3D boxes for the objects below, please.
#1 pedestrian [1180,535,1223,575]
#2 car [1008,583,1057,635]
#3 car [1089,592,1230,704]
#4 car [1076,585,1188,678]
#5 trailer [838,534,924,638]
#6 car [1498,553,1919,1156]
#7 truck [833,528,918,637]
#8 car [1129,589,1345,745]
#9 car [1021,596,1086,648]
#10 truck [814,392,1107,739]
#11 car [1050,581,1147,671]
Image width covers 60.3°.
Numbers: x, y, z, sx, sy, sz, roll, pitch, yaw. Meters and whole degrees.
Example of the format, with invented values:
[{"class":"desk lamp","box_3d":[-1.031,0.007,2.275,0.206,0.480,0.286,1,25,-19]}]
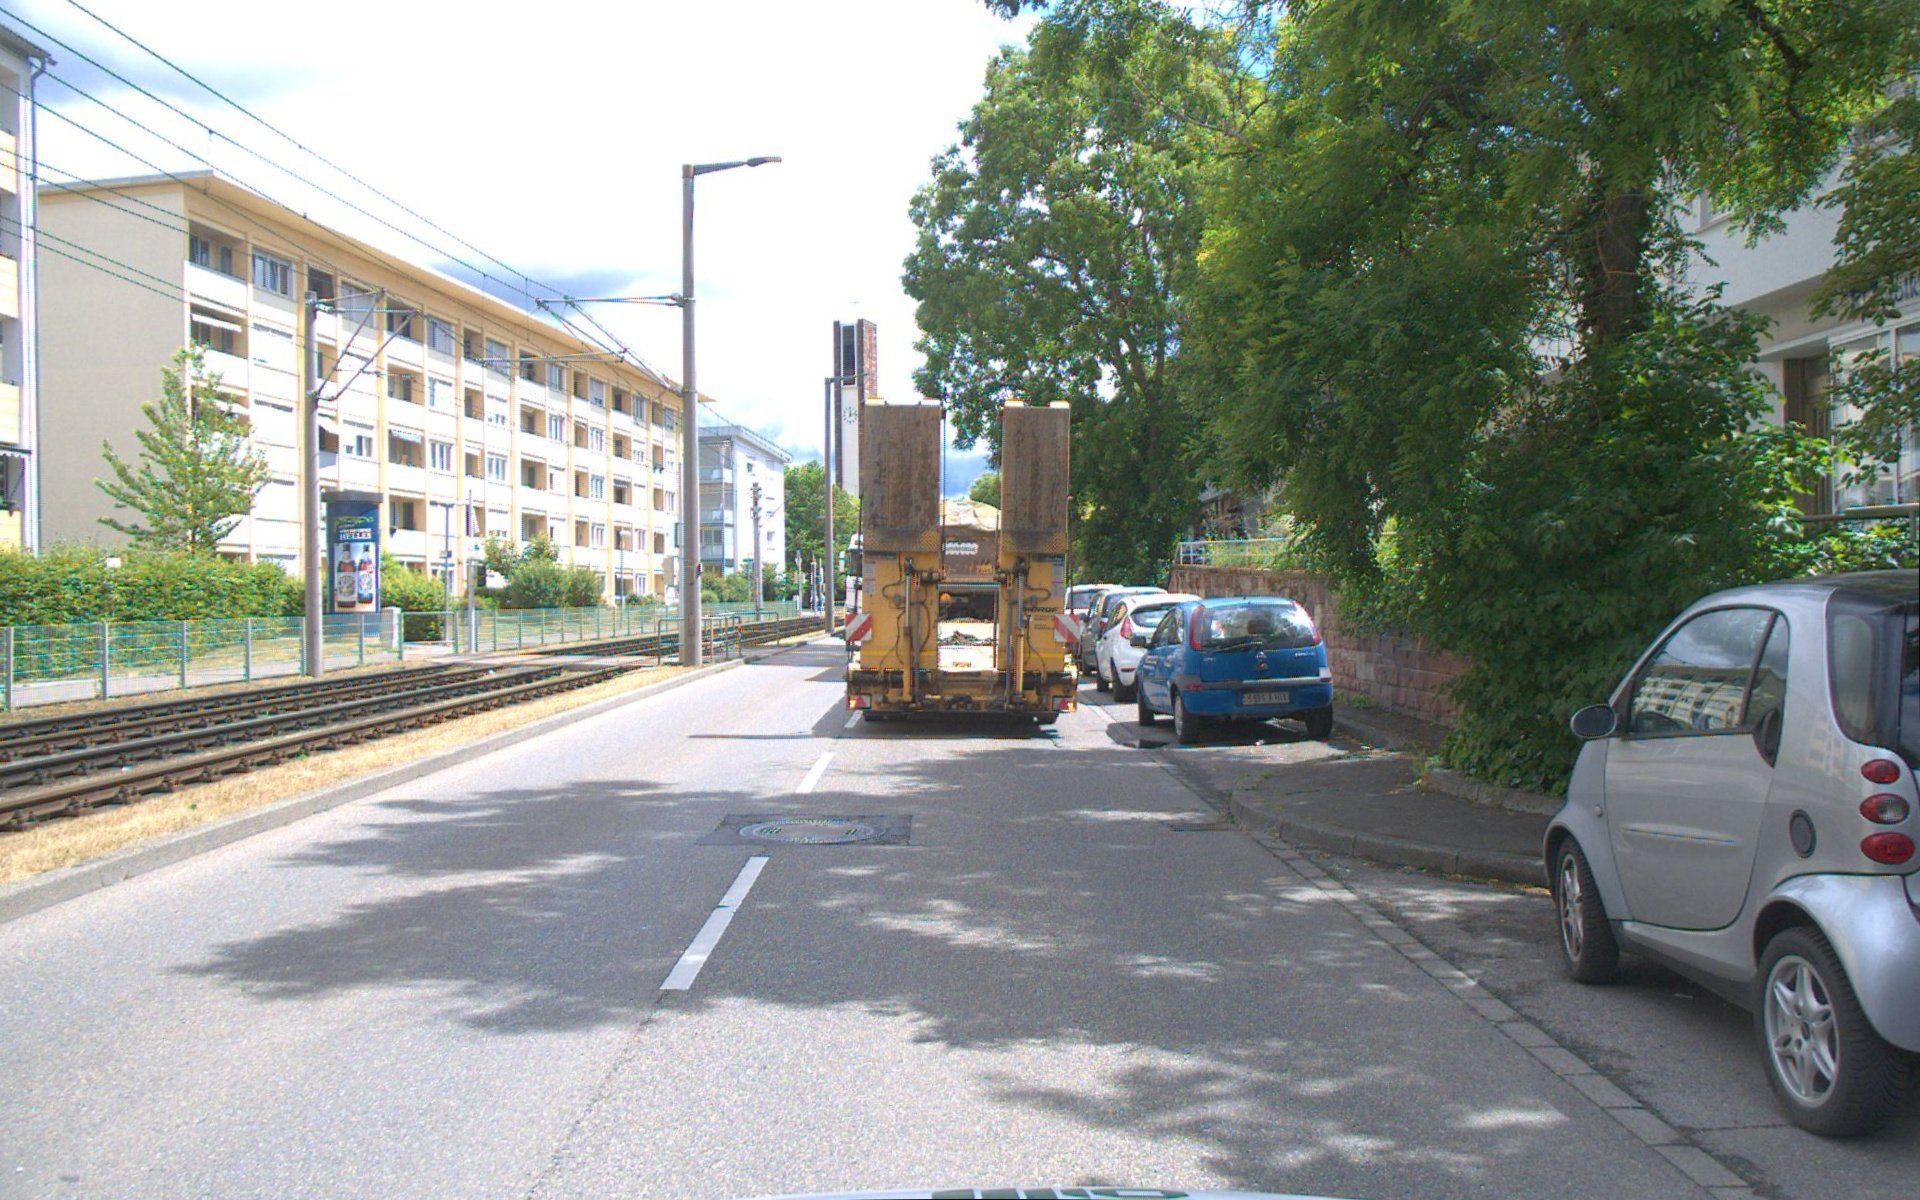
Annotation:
[{"class":"pedestrian","box_3d":[5.040,-0.937,34.600,0.779,0.804,0.705,0,0,-1]},{"class":"car","box_3d":[2.929,0.345,67.719,1.762,2.003,4.590,-1,0,0]},{"class":"car","box_3d":[2.896,0.649,24.684,1.611,1.516,3.822,0,0,0]},{"class":"car","box_3d":[3.042,0.518,29.820,1.549,1.579,3.474,0,0,-2]},{"class":"trailer","box_3d":[-2.940,-0.566,65.489,2.643,3.643,13.675,1,0,0]},{"class":"car","box_3d":[3.119,0.627,5.737,1.482,1.560,2.846,-2,0,-1]},{"class":"truck","box_3d":[-2.944,-0.618,59.166,2.643,3.643,6.145,1,0,0]},{"class":"car","box_3d":[2.921,0.649,18.156,1.576,1.482,3.674,-2,0,-2]},{"class":"car","box_3d":[2.771,0.624,49.984,1.798,1.430,4.414,-1,0,1]},{"class":"truck","box_3d":[-0.235,-0.423,23.614,3.061,3.627,12.454,0,0,-2]},{"class":"car","box_3d":[2.824,0.490,34.580,1.786,1.711,4.577,-1,0,2]}]
